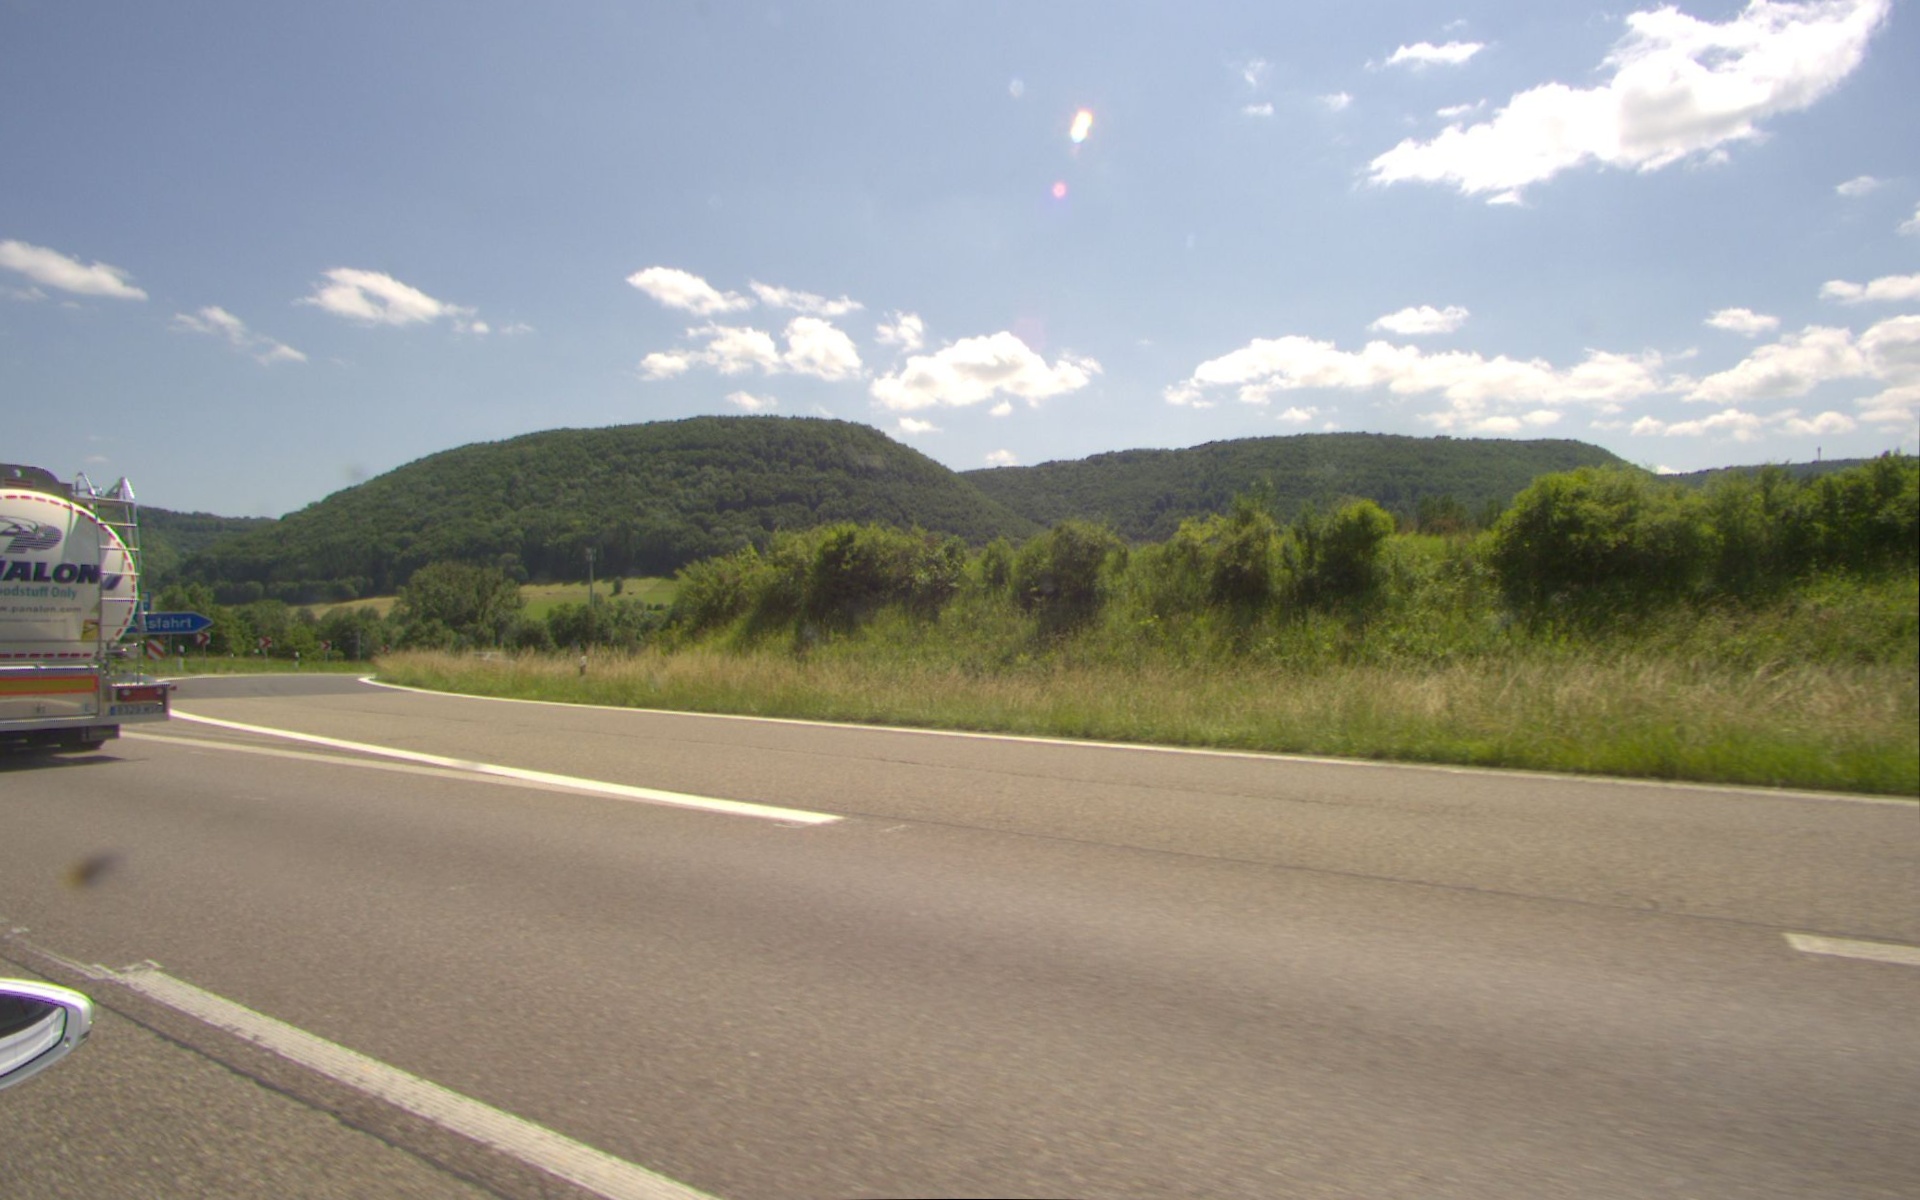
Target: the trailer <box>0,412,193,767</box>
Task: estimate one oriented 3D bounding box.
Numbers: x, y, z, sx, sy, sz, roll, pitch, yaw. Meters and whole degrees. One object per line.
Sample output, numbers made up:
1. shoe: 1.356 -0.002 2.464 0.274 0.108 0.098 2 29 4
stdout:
1. trailer: -14.952 0.004 14.183 11.720 3.783 2.534 -1 -1 32
